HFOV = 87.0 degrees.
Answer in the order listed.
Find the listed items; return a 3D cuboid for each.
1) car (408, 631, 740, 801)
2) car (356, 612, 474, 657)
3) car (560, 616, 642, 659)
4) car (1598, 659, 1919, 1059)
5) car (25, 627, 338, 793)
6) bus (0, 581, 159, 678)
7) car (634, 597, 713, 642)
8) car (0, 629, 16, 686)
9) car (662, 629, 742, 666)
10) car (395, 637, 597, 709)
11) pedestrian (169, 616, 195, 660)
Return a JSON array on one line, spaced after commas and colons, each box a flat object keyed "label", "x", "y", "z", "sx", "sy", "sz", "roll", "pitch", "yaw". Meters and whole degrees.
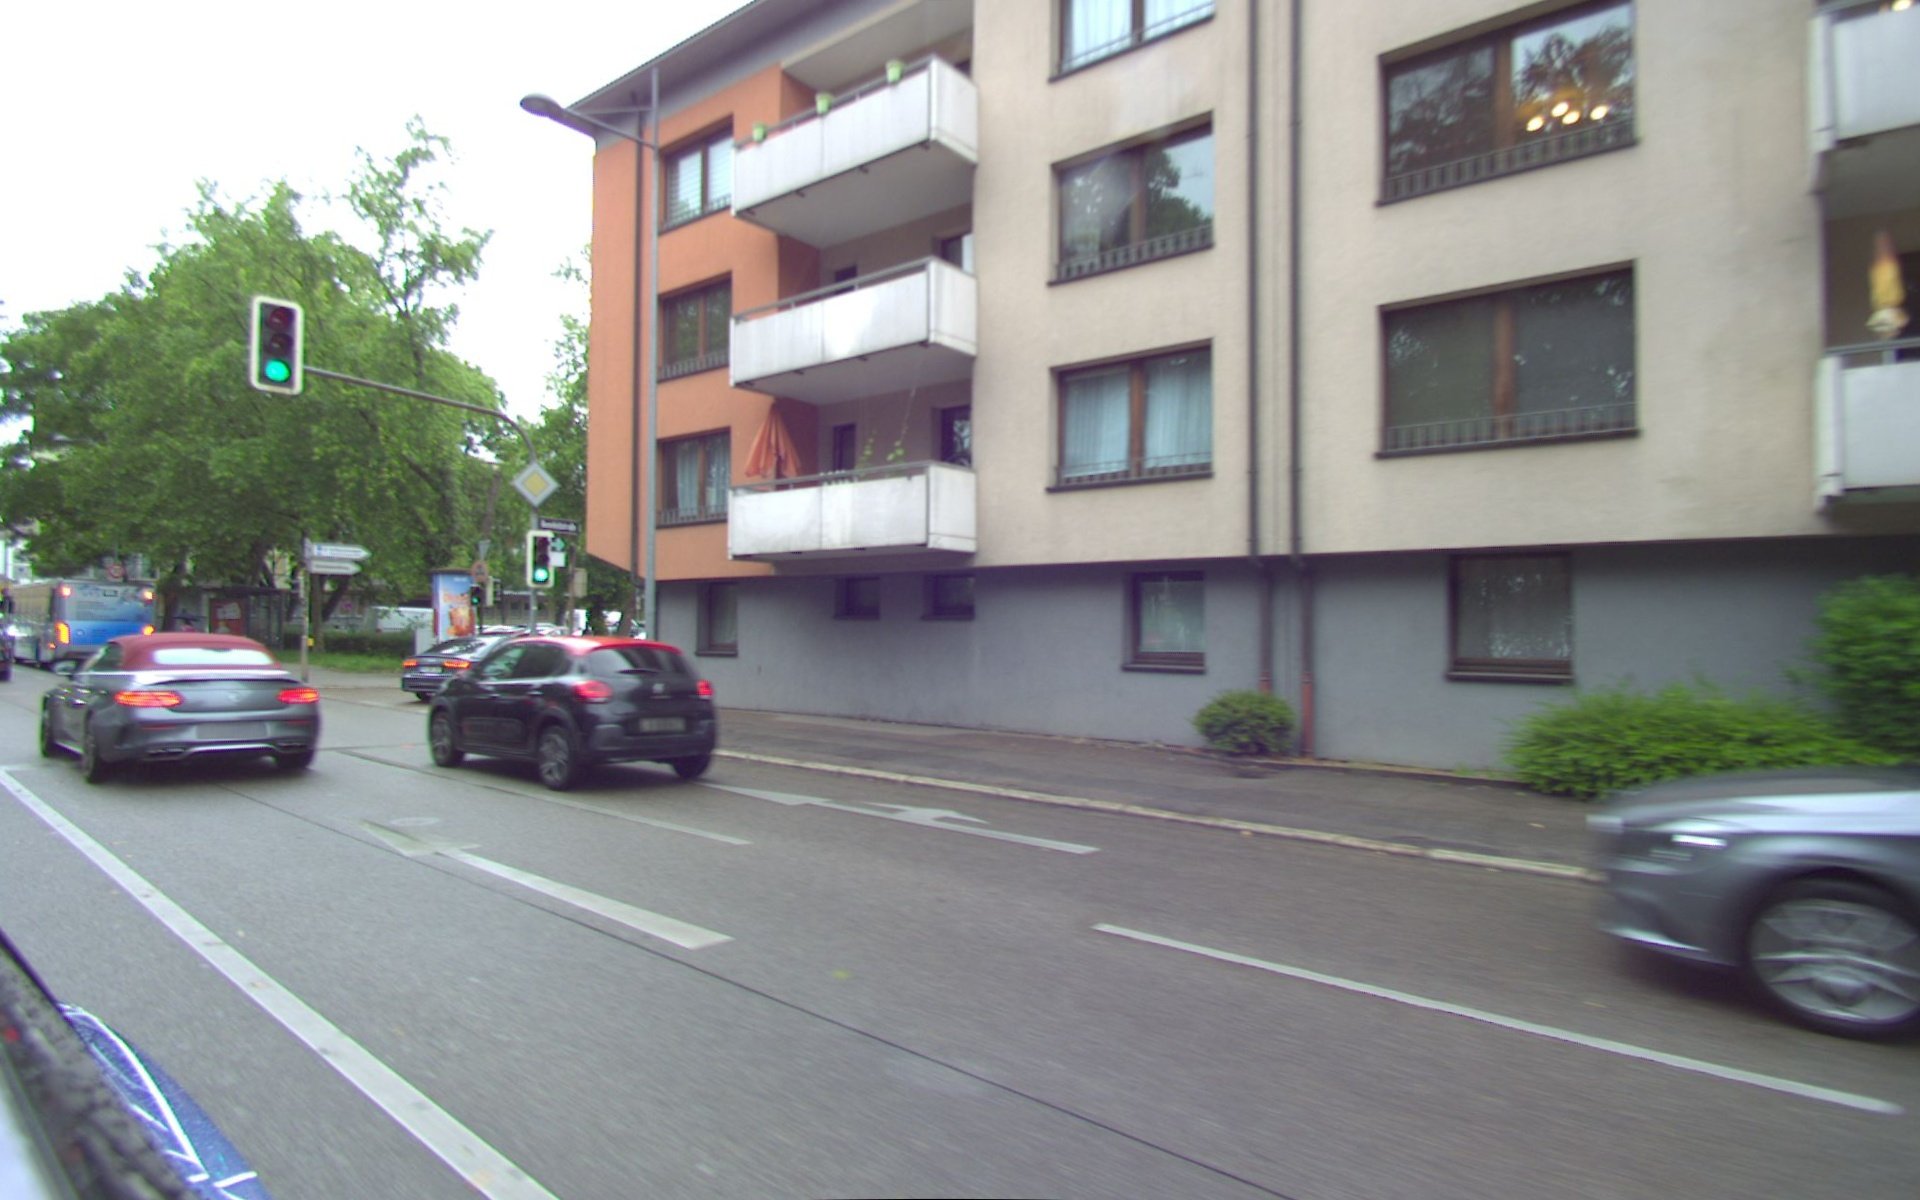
[{"label": "car", "x": -4.254, "y": 1.117, "z": 10.897, "sx": 3.887, "sy": 1.503, "sz": 1.669, "roll": -2, "pitch": -4, "yaw": 41}, {"label": "car", "x": -24.190, "y": 1.558, "z": 45.072, "sx": 1.701, "sy": 1.937, "sz": 4.281, "roll": -2, "pitch": -3, "yaw": 38}, {"label": "car", "x": -22.809, "y": 2.385, "z": 64.409, "sx": 1.999, "sy": 2.633, "sz": 4.521, "roll": -2, "pitch": -3, "yaw": 42}, {"label": "car", "x": 5.075, "y": 0.938, "z": 3.425, "sx": 4.681, "sy": 1.426, "sz": 1.793, "roll": -2, "pitch": -4, "yaw": 42}, {"label": "car", "x": -8.428, "y": 1.049, "z": 10.816, "sx": 4.332, "sy": 1.426, "sz": 1.775, "roll": -2, "pitch": -4, "yaw": 41}, {"label": "bus", "x": -31.598, "y": 1.017, "z": 35.976, "sx": 12.078, "sy": 2.962, "sz": 2.665, "roll": -1, "pitch": -3, "yaw": 41}, {"label": "car", "x": -17.824, "y": 1.264, "z": 63.198, "sx": 1.995, "sy": 2.633, "sz": 4.531, "roll": -1, "pitch": -3, "yaw": 34}, {"label": "car", "x": -26.475, "y": 1.490, "z": 26.984, "sx": 1.775, "sy": 1.469, "sz": 4.494, "roll": 4, "pitch": -4, "yaw": -44}, {"label": "car", "x": -12.312, "y": 2.276, "z": 48.535, "sx": 1.695, "sy": 1.676, "sz": 3.709, "roll": -1, "pitch": -3, "yaw": 27}, {"label": "car", "x": -10.421, "y": 1.625, "z": 23.219, "sx": 1.799, "sy": 1.426, "sz": 4.791, "roll": 1, "pitch": -3, "yaw": 10}, {"label": "pedestrian", "x": -31.643, "y": 1.534, "z": 41.169, "sx": 0.687, "sy": 1.782, "sz": 0.702, "roll": -1, "pitch": 0, "yaw": 41}]
